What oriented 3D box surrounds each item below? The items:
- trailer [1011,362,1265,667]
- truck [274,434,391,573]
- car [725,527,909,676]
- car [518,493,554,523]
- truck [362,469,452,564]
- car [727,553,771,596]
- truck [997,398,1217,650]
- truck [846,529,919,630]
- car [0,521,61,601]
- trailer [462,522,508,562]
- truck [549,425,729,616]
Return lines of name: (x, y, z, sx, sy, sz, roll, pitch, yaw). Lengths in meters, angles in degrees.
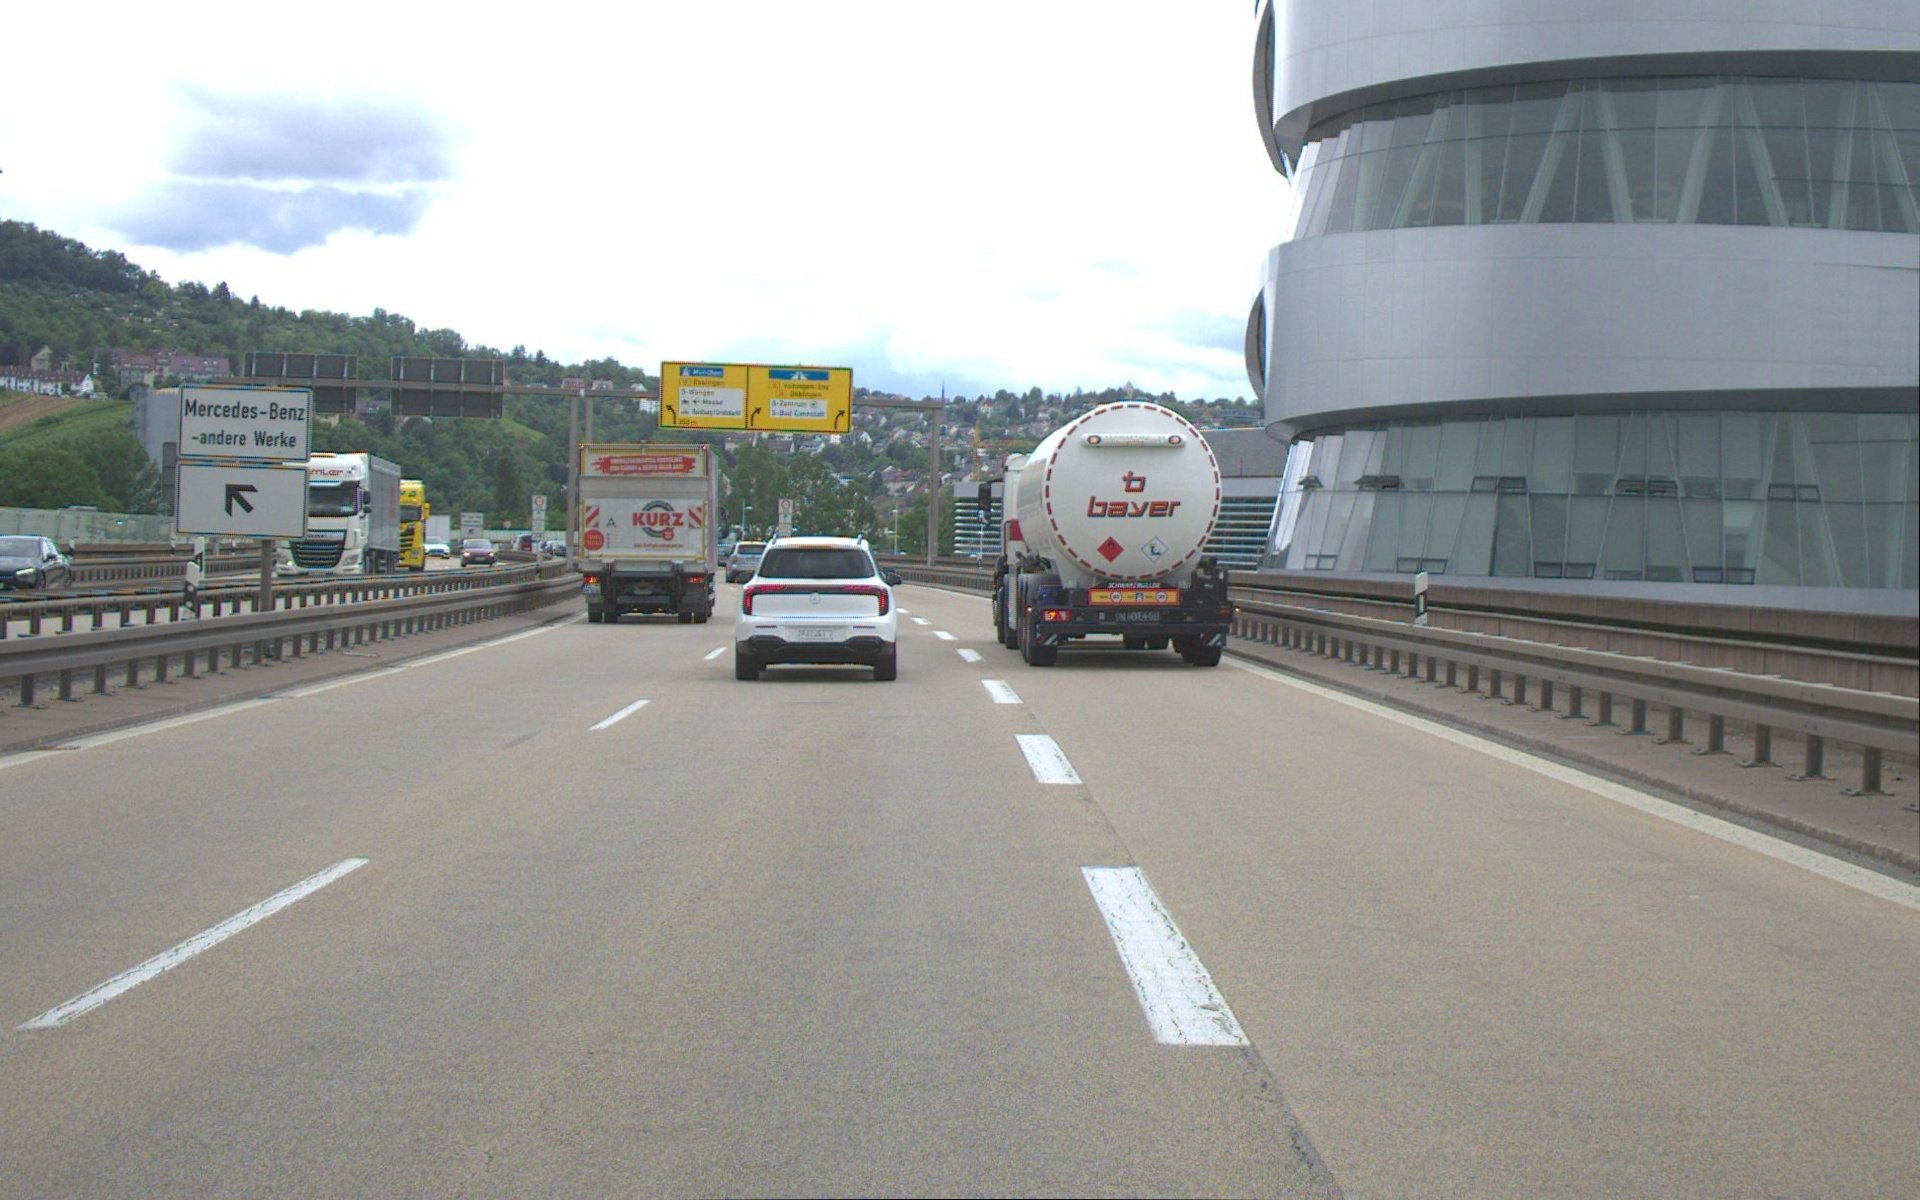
trailer: (2.282, -1.095, 46.967, 3.057, 3.777, 8.304, 0, 0, 0)
truck: (-19.010, -2.859, 104.432, 2.771, 4.065, 5.647, 0, 0, -3)
car: (-1.650, 0.006, 41.033, 1.993, 1.669, 4.408, 0, 0, 0)
car: (-24.594, -5.341, 199.656, 1.993, 1.601, 4.808, 0, 0, -6)
truck: (-24.659, -3.648, 153.731, 3.056, 4.051, 11.858, 0, 0, -5)
car: (-8.528, -1.034, 139.000, 1.683, 1.644, 4.360, 2, 0, -3)
truck: (2.173, -1.115, 53.224, 3.014, 3.644, 6.273, 0, 0, -1)
truck: (-3.657, -0.961, 159.524, 3.056, 4.547, 8.305, 0, 0, -3)
car: (-20.683, -0.847, 74.019, 1.683, 1.644, 4.360, 2, 0, -3)
trailer: (-24.609, -3.008, 178.251, 1.993, 2.007, 4.000, 0, 0, -3)
truck: (-6.505, -1.567, 70.829, 3.057, 3.678, 8.304, 0, 0, -1)
